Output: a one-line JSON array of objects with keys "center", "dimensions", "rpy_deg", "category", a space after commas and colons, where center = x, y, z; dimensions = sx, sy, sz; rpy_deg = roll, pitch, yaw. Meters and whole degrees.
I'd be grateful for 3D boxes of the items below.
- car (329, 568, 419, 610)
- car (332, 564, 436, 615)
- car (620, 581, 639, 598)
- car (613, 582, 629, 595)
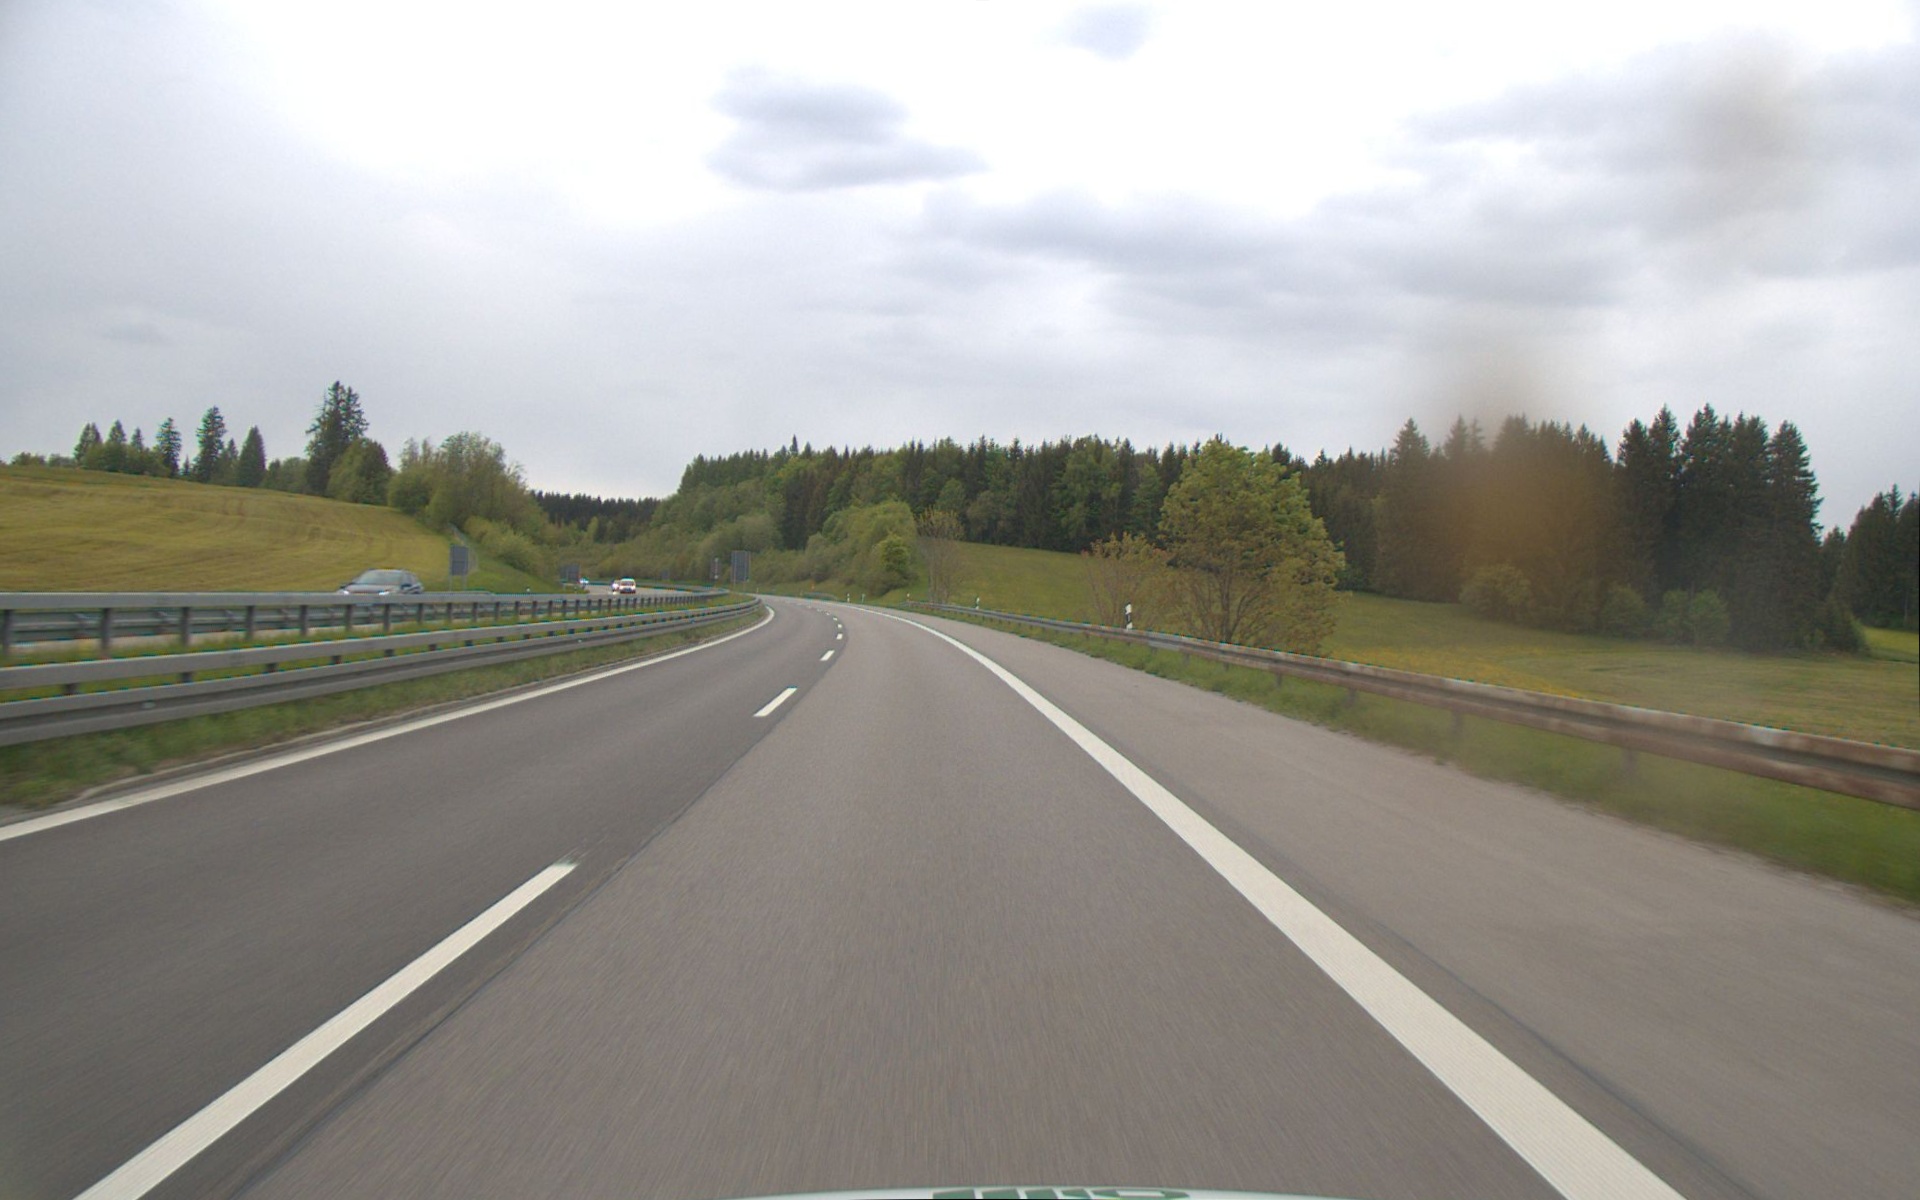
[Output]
[{"center": [-22.857, -0.441, 64.704], "dimensions": [1.954, 1.465, 4.996], "rpy_deg": [4, 0, -4], "category": "car"}, {"center": [-18.357, -0.355, 52.889], "dimensions": [1.954, 1.442, 3.998], "rpy_deg": [4, 0, -2], "category": "car"}, {"center": [-36.491, -1.143, 182.695], "dimensions": [1.958, 1.715, 4.615], "rpy_deg": [4, 0, -11], "category": "car"}, {"center": [-50.726, -1.787, 247.442], "dimensions": [2.002, 1.720, 5.033], "rpy_deg": [4, 0, -16], "category": "car"}]
